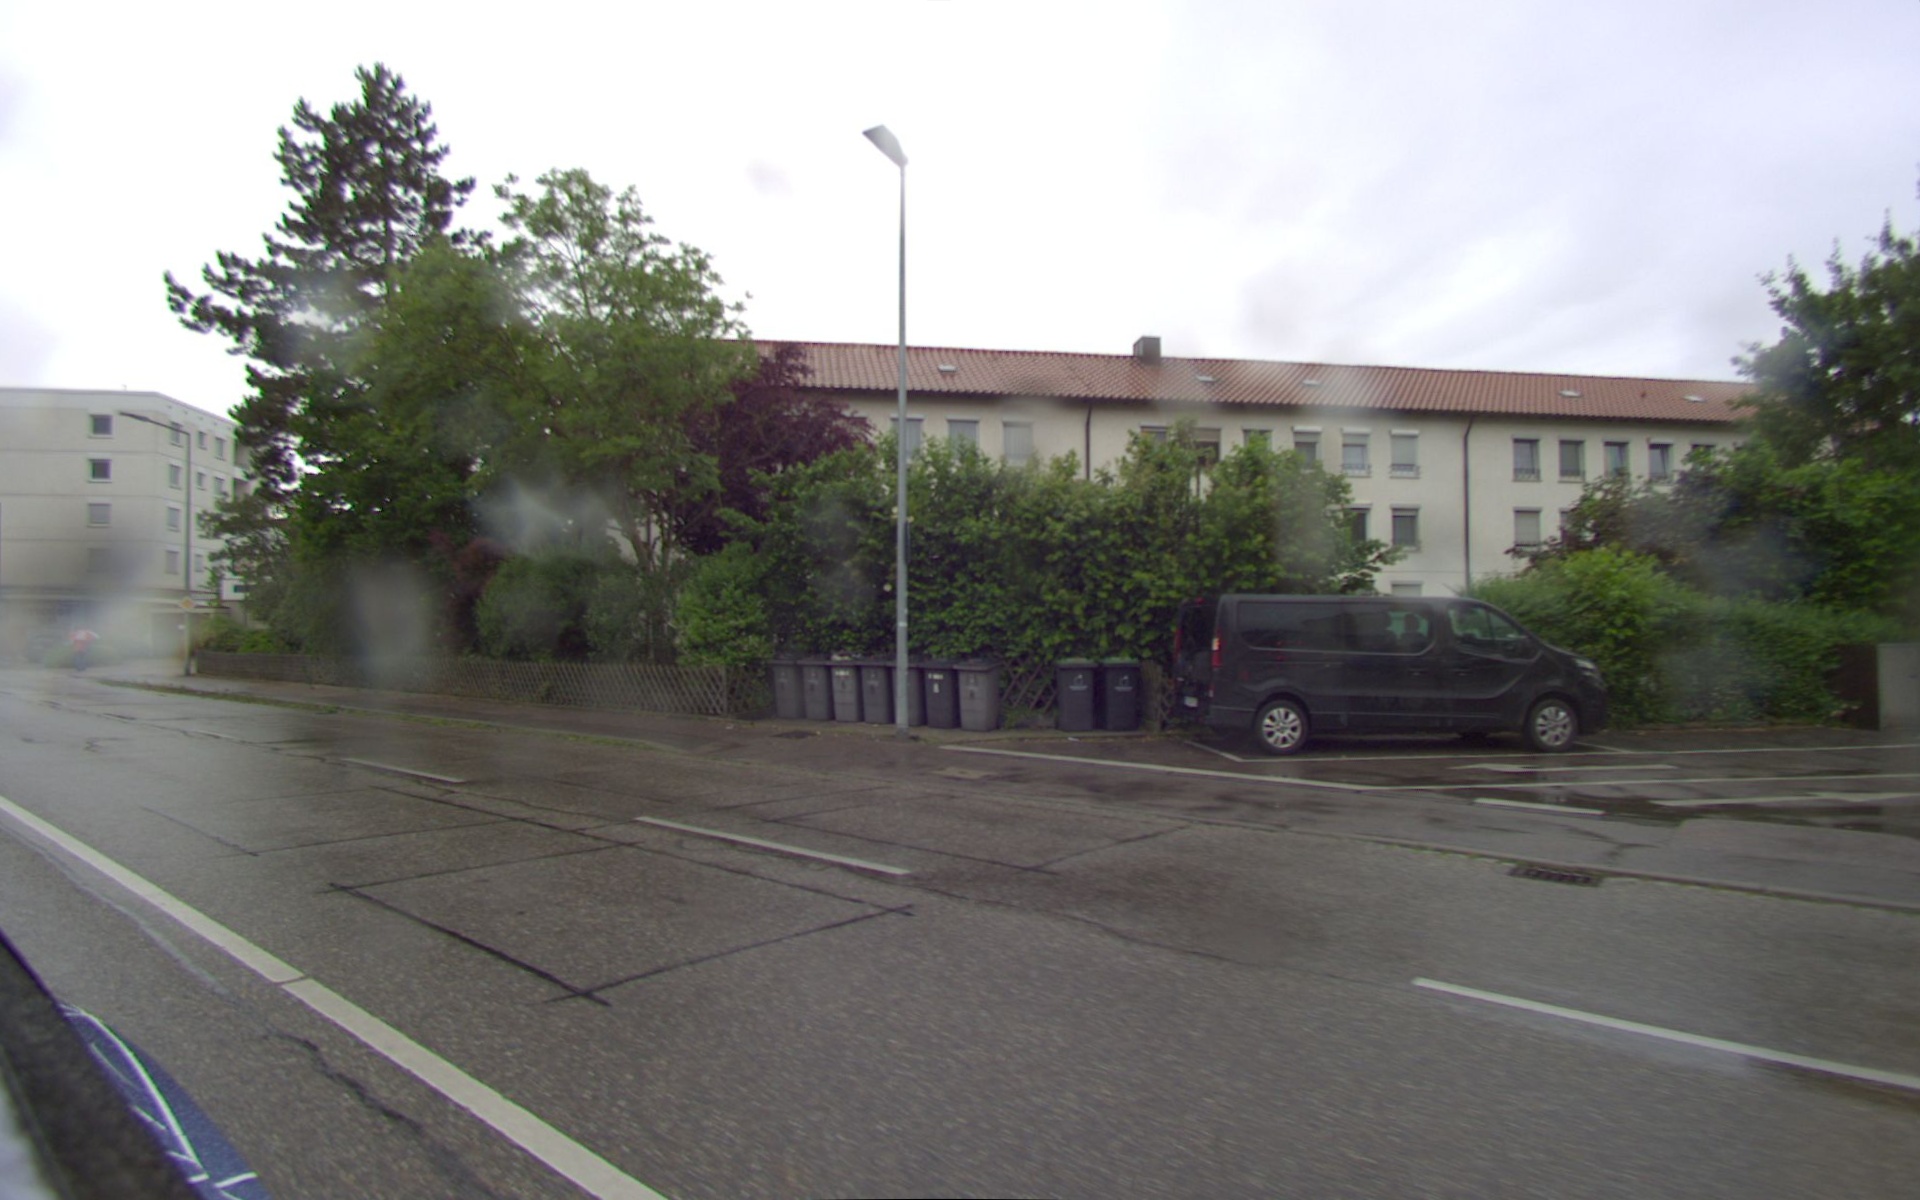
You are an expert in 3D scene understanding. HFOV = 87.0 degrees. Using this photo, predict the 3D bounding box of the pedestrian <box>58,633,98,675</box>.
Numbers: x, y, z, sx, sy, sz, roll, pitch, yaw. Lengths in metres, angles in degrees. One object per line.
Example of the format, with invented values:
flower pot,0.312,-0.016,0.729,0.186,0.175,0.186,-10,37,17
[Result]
pedestrian,-35.274,2.145,40.478,1.099,1.619,0.863,-1,-2,31

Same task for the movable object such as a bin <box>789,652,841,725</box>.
movable object such as a bin,-2.328,1.410,16.260,0.600,1.127,0.594,-2,-2,37

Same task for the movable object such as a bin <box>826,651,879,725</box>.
movable object such as a bin,-1.706,1.385,16.038,0.600,1.127,0.594,-2,-3,37

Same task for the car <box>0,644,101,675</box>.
car,-47.716,3.104,53.173,1.967,1.558,4.480,1,-3,-10

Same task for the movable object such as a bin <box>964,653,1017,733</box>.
movable object such as a bin,0.451,1.351,14.824,0.598,1.127,0.595,-1,-3,27

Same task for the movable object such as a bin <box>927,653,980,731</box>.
movable object such as a bin,-0.091,1.358,15.108,0.598,1.127,0.595,-1,-3,27

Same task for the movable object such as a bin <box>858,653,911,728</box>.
movable object such as a bin,-1.168,1.391,15.743,0.598,1.127,0.595,-1,-3,27

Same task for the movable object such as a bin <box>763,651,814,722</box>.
movable object such as a bin,-2.819,1.406,16.644,0.600,1.127,0.594,-1,-2,37

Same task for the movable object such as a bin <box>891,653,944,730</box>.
movable object such as a bin,-0.641,1.377,15.392,0.598,1.127,0.595,-1,-3,27

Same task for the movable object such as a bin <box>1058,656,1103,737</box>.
movable object such as a bin,1.730,1.381,14.589,0.593,1.127,0.600,0,-2,4

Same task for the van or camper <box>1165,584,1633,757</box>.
van or camper,5.517,0.886,13.172,5.139,1.940,2.002,-1,-3,-4

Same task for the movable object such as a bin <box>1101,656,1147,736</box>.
movable object such as a bin,2.370,1.381,14.674,0.593,1.127,0.600,0,-2,4
